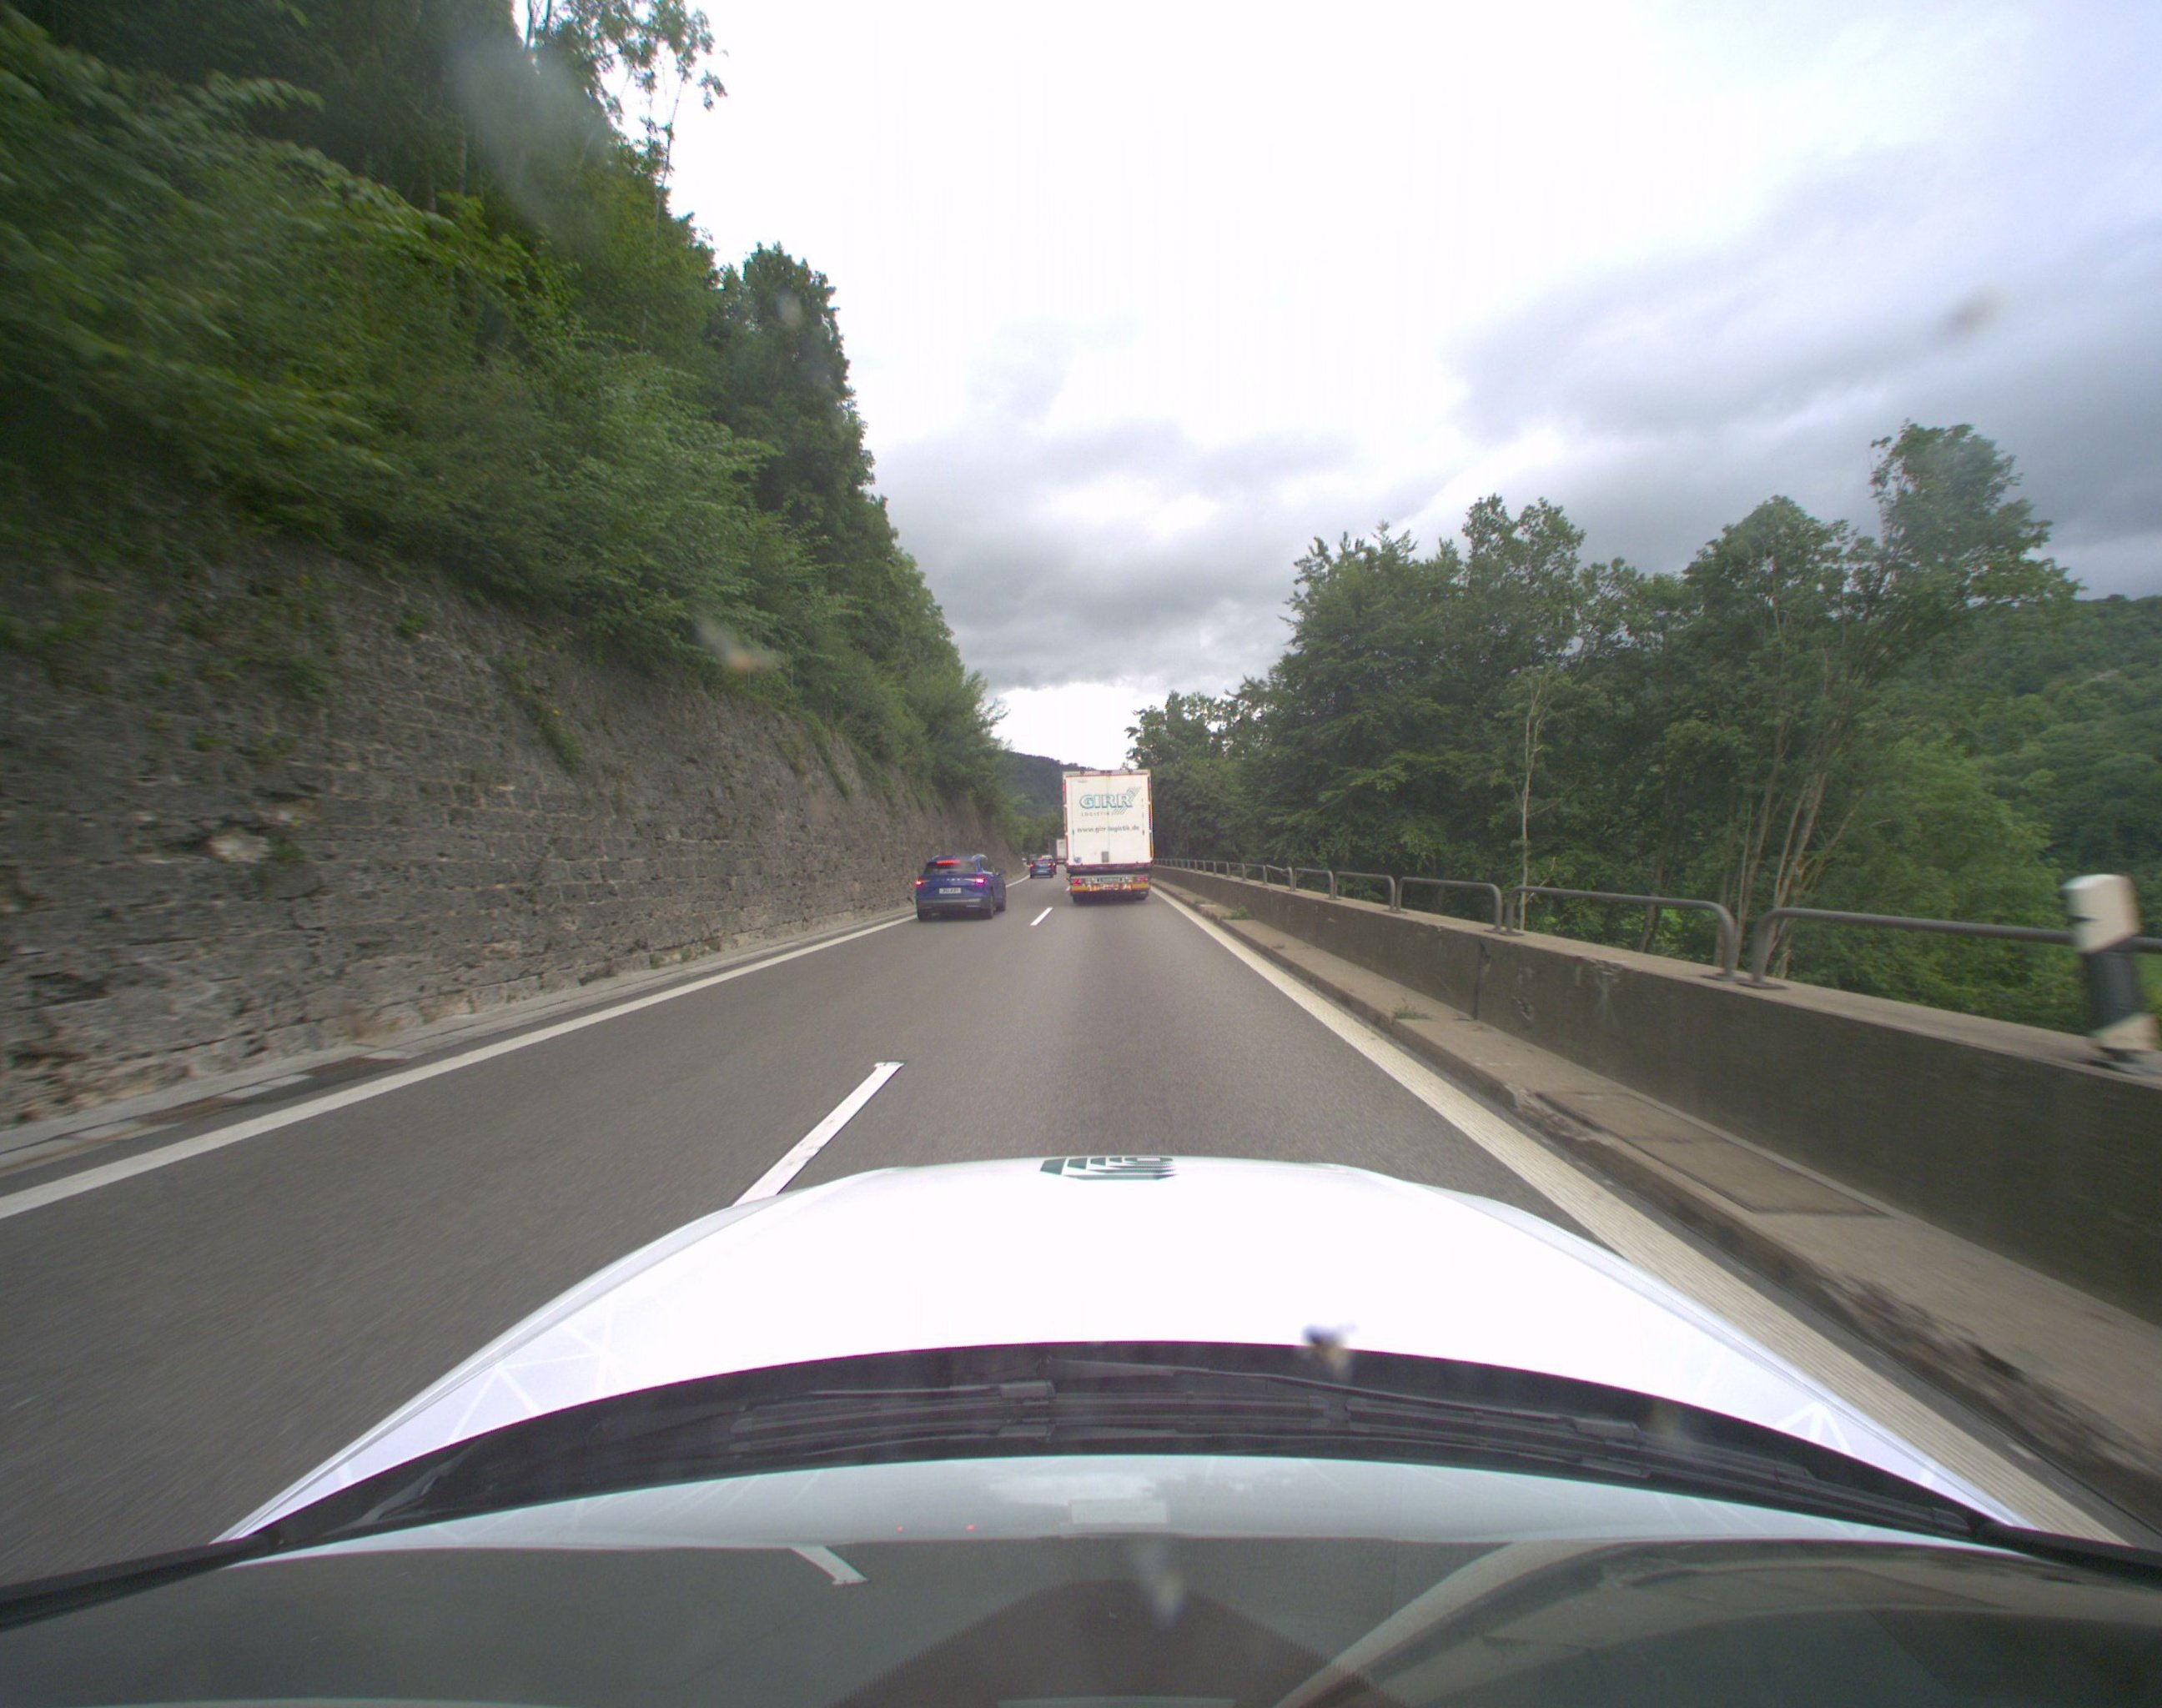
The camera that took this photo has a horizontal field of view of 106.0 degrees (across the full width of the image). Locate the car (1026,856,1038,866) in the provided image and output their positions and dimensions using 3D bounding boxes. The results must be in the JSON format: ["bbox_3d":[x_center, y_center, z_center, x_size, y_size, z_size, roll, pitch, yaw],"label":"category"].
[{"bbox_3d":[-8.011,1.101,133.264,1.893,1.550,4.242,-1,0,-5],"label":"car"}]

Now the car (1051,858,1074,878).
[{"bbox_3d":[-1.564,1.183,70.046,1.739,1.587,4.000,4,-1,1],"label":"car"}]

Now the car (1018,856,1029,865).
[{"bbox_3d":[-11.563,1.324,164.059,1.744,1.587,3.989,4,-1,-8],"label":"car"}]

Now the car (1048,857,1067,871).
[{"bbox_3d":[-2.768,1.120,94.953,1.894,1.550,4.240,-1,0,-6],"label":"car"}]

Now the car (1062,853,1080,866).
[{"bbox_3d":[-1.348,0.729,106.893,2.057,1.654,3.993,-3,0,-5],"label":"car"}]

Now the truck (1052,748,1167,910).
[{"bbox_3d":[1.092,-0.755,30.834,3.072,4.464,15.163,-3,0,2],"label":"truck"}]

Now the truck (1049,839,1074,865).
[{"bbox_3d":[-3.162,-0.284,130.034,2.632,3.857,12.329,-3,0,-7],"label":"truck"}]

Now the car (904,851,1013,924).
[{"bbox_3d":[-3.080,0.790,21.581,1.986,1.632,5.009,-2,0,1],"label":"car"}]

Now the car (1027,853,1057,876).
[{"bbox_3d":[-2.818,0.790,60.290,1.987,1.596,4.352,-2,-1,-1],"label":"car"}]
